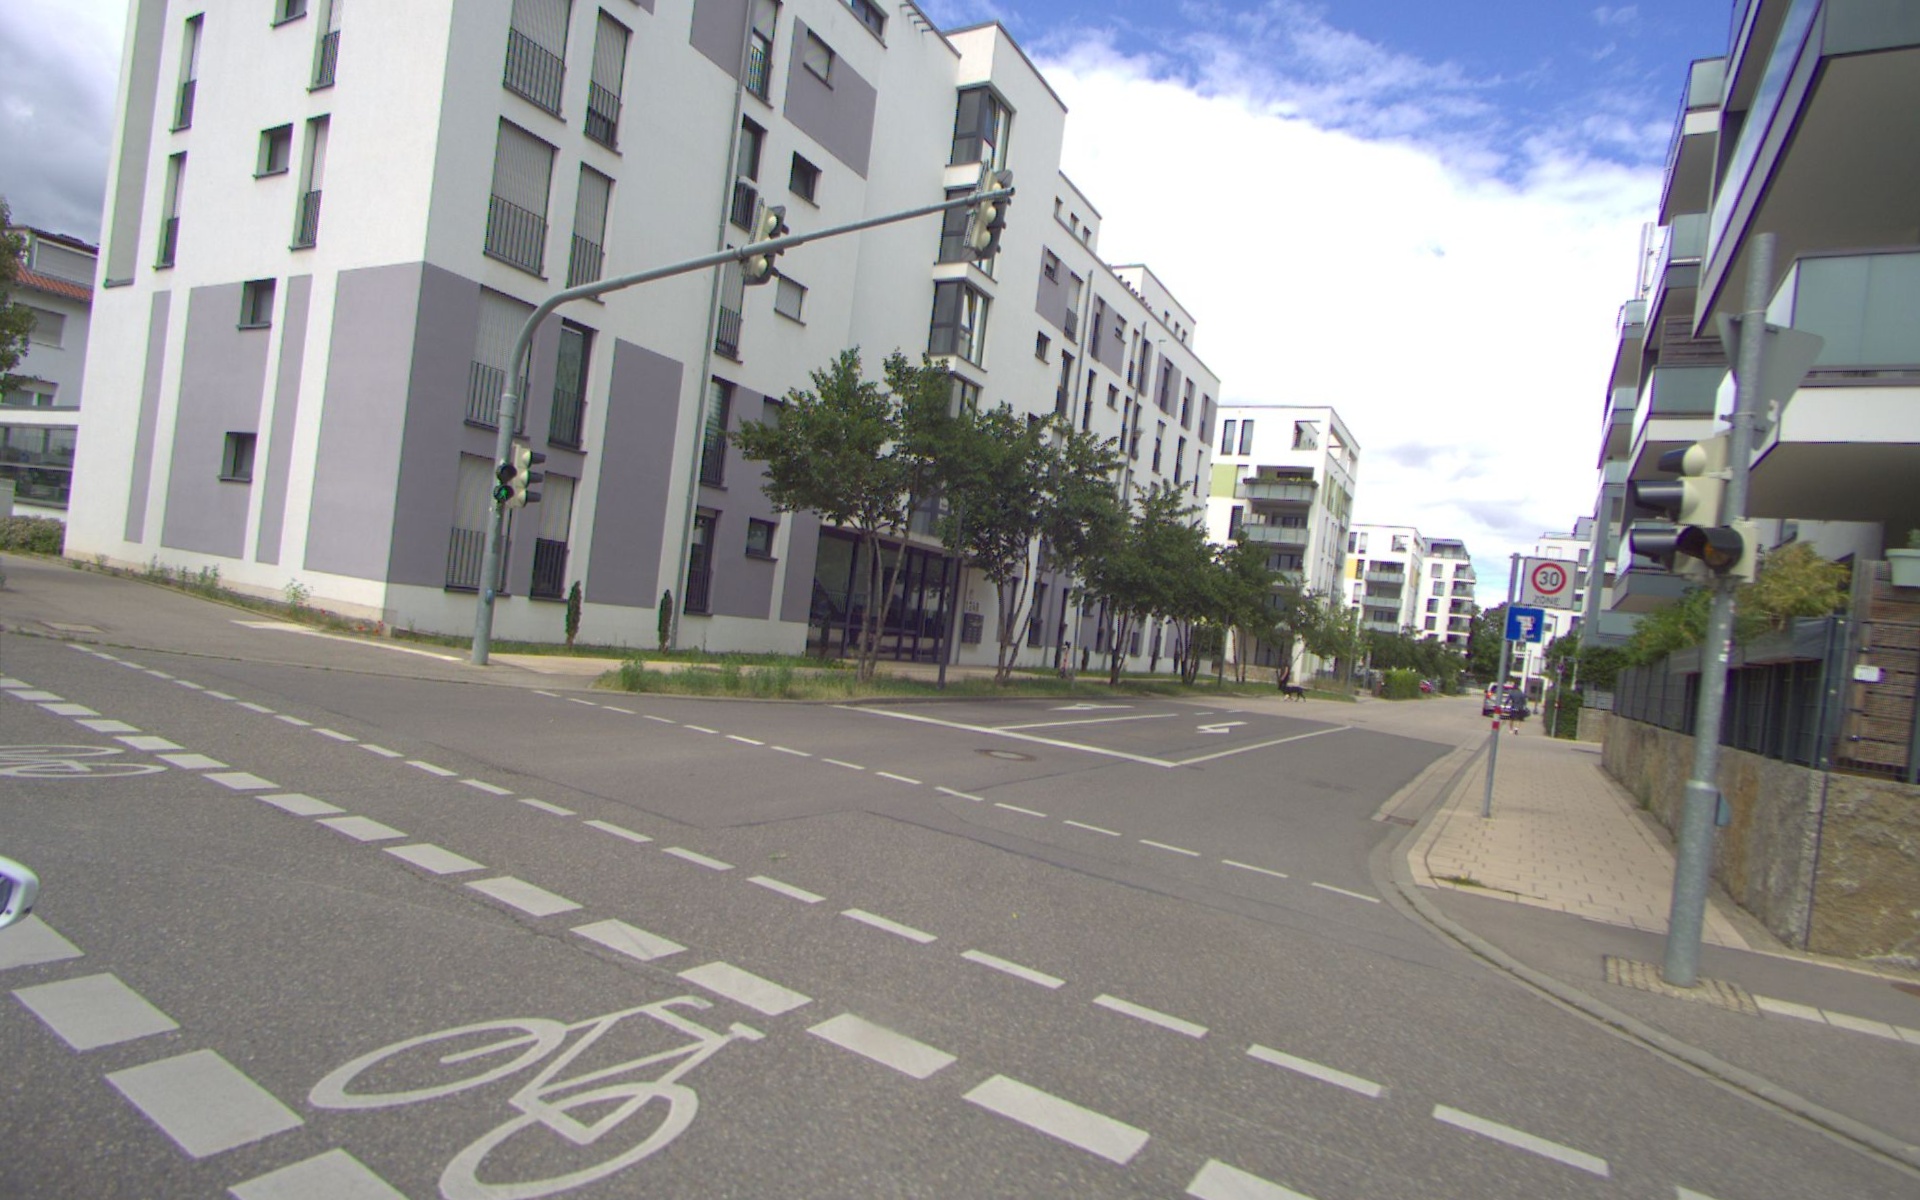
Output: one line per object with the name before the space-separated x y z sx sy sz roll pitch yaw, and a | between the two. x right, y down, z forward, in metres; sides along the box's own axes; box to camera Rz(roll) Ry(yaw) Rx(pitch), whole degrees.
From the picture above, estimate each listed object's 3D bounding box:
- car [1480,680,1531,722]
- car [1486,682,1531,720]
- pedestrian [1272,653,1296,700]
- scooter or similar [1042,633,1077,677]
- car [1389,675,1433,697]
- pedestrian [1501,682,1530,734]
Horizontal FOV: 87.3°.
car | 28.649 5.310 52.798 1.967 1.802 3.996 6 -3 32
car | 32.130 5.930 58.910 1.967 1.802 3.996 6 -3 32
pedestrian | 13.231 3.120 41.083 0.621 1.794 0.607 6 -2 32
scooter or similar | 3.087 1.707 31.156 0.474 1.254 1.166 6 -2 32
car | 42.332 8.113 94.416 3.617 1.533 1.790 6 -3 28
pedestrian | 20.087 3.910 36.392 0.716 1.781 0.654 6 -2 27
